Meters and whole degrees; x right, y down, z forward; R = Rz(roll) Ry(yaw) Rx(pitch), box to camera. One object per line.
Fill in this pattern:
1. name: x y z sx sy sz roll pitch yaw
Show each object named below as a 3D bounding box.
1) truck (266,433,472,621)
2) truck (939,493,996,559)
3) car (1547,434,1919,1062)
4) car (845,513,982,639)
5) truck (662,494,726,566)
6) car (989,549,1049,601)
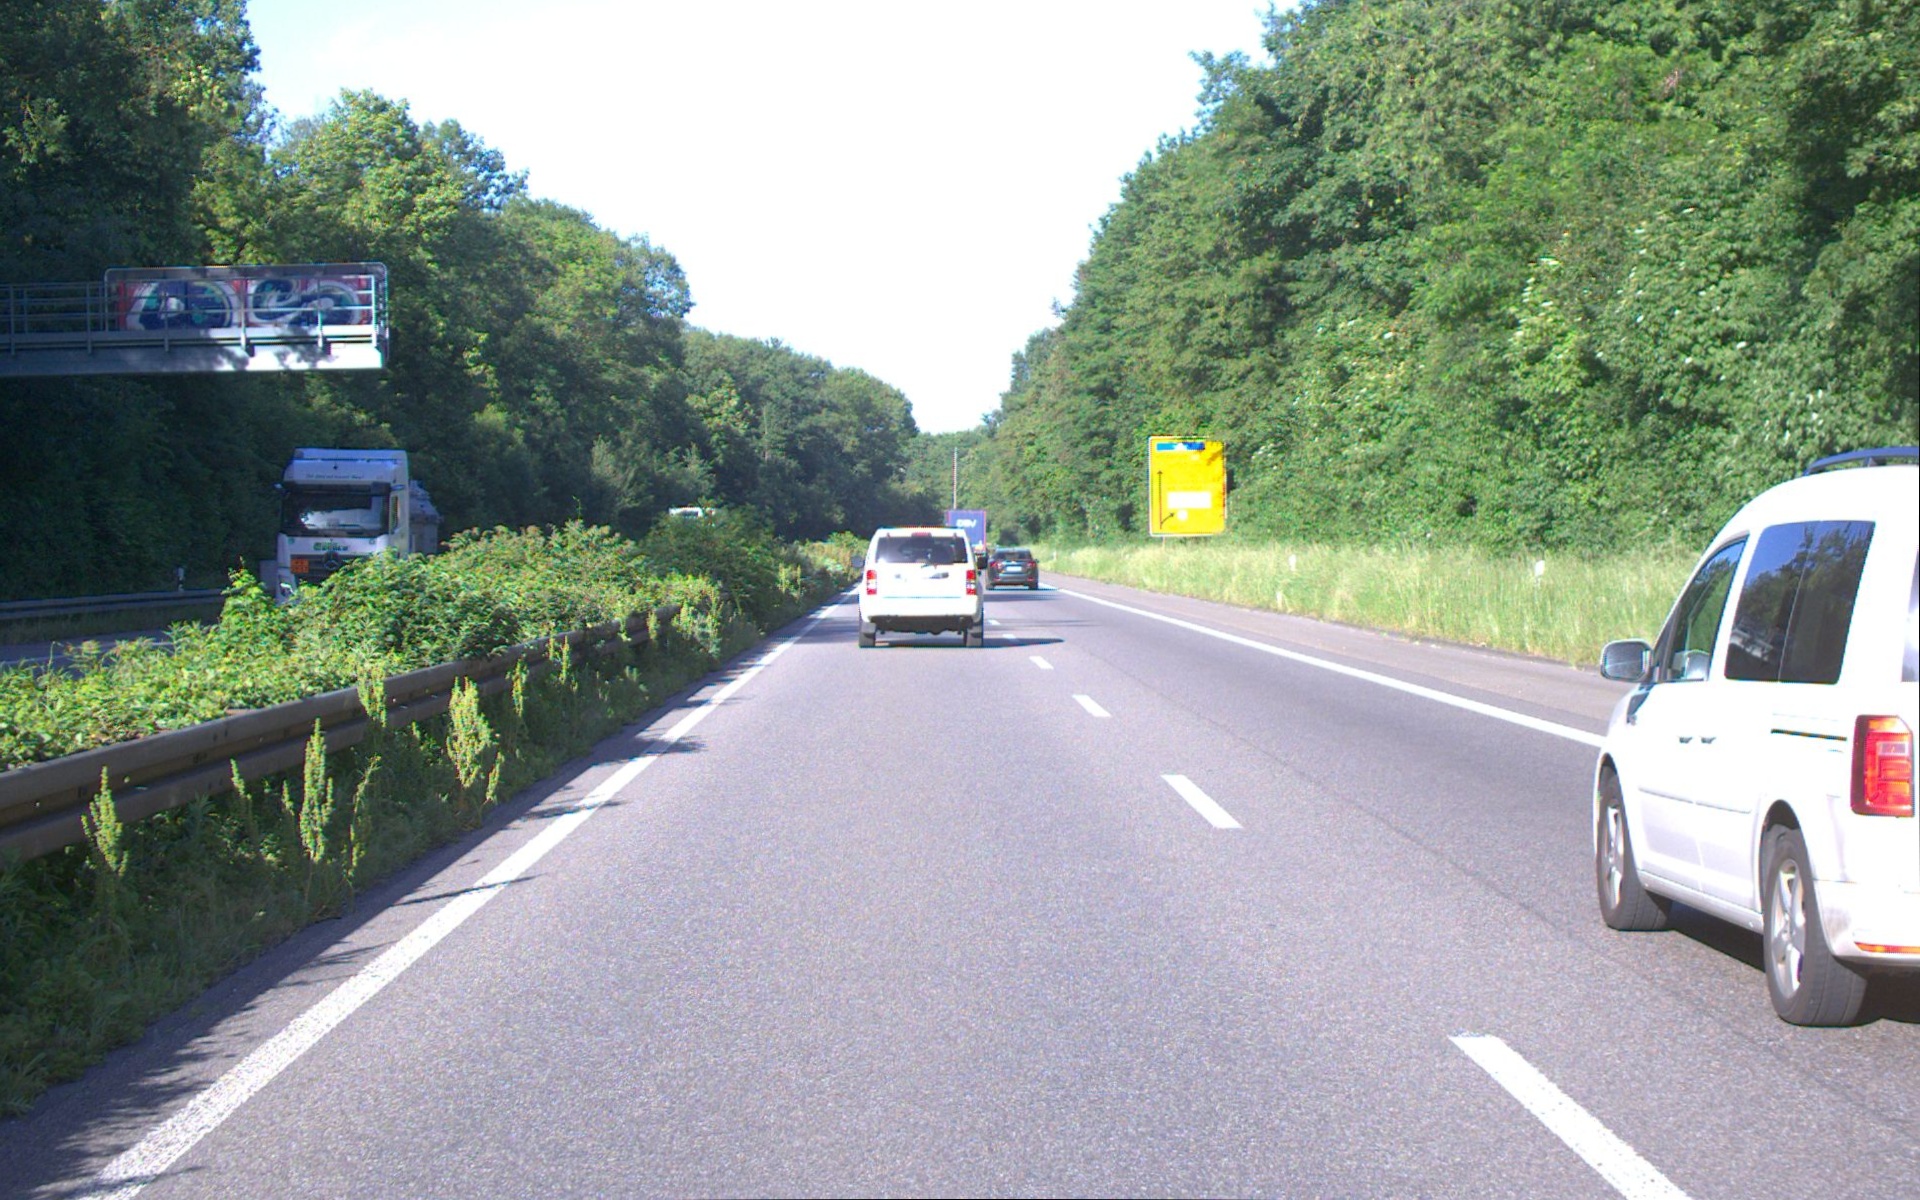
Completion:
1. truck: -13.305 -1.611 78.343 2.769 3.942 11.467 1 1 0
2. truck: 0.502 -5.013 233.859 3.734 4.328 9.305 1 1 0
3. car: 3.429 0.411 12.206 1.799 1.807 4.588 1 1 -1
4. car: -0.718 -0.370 51.706 1.951 1.776 4.588 1 1 -1
5. truck: -15.092 -3.997 195.447 3.228 3.999 5.677 1 1 -1
6. car: 2.078 -0.898 122.356 1.951 1.776 4.588 1 1 -1
